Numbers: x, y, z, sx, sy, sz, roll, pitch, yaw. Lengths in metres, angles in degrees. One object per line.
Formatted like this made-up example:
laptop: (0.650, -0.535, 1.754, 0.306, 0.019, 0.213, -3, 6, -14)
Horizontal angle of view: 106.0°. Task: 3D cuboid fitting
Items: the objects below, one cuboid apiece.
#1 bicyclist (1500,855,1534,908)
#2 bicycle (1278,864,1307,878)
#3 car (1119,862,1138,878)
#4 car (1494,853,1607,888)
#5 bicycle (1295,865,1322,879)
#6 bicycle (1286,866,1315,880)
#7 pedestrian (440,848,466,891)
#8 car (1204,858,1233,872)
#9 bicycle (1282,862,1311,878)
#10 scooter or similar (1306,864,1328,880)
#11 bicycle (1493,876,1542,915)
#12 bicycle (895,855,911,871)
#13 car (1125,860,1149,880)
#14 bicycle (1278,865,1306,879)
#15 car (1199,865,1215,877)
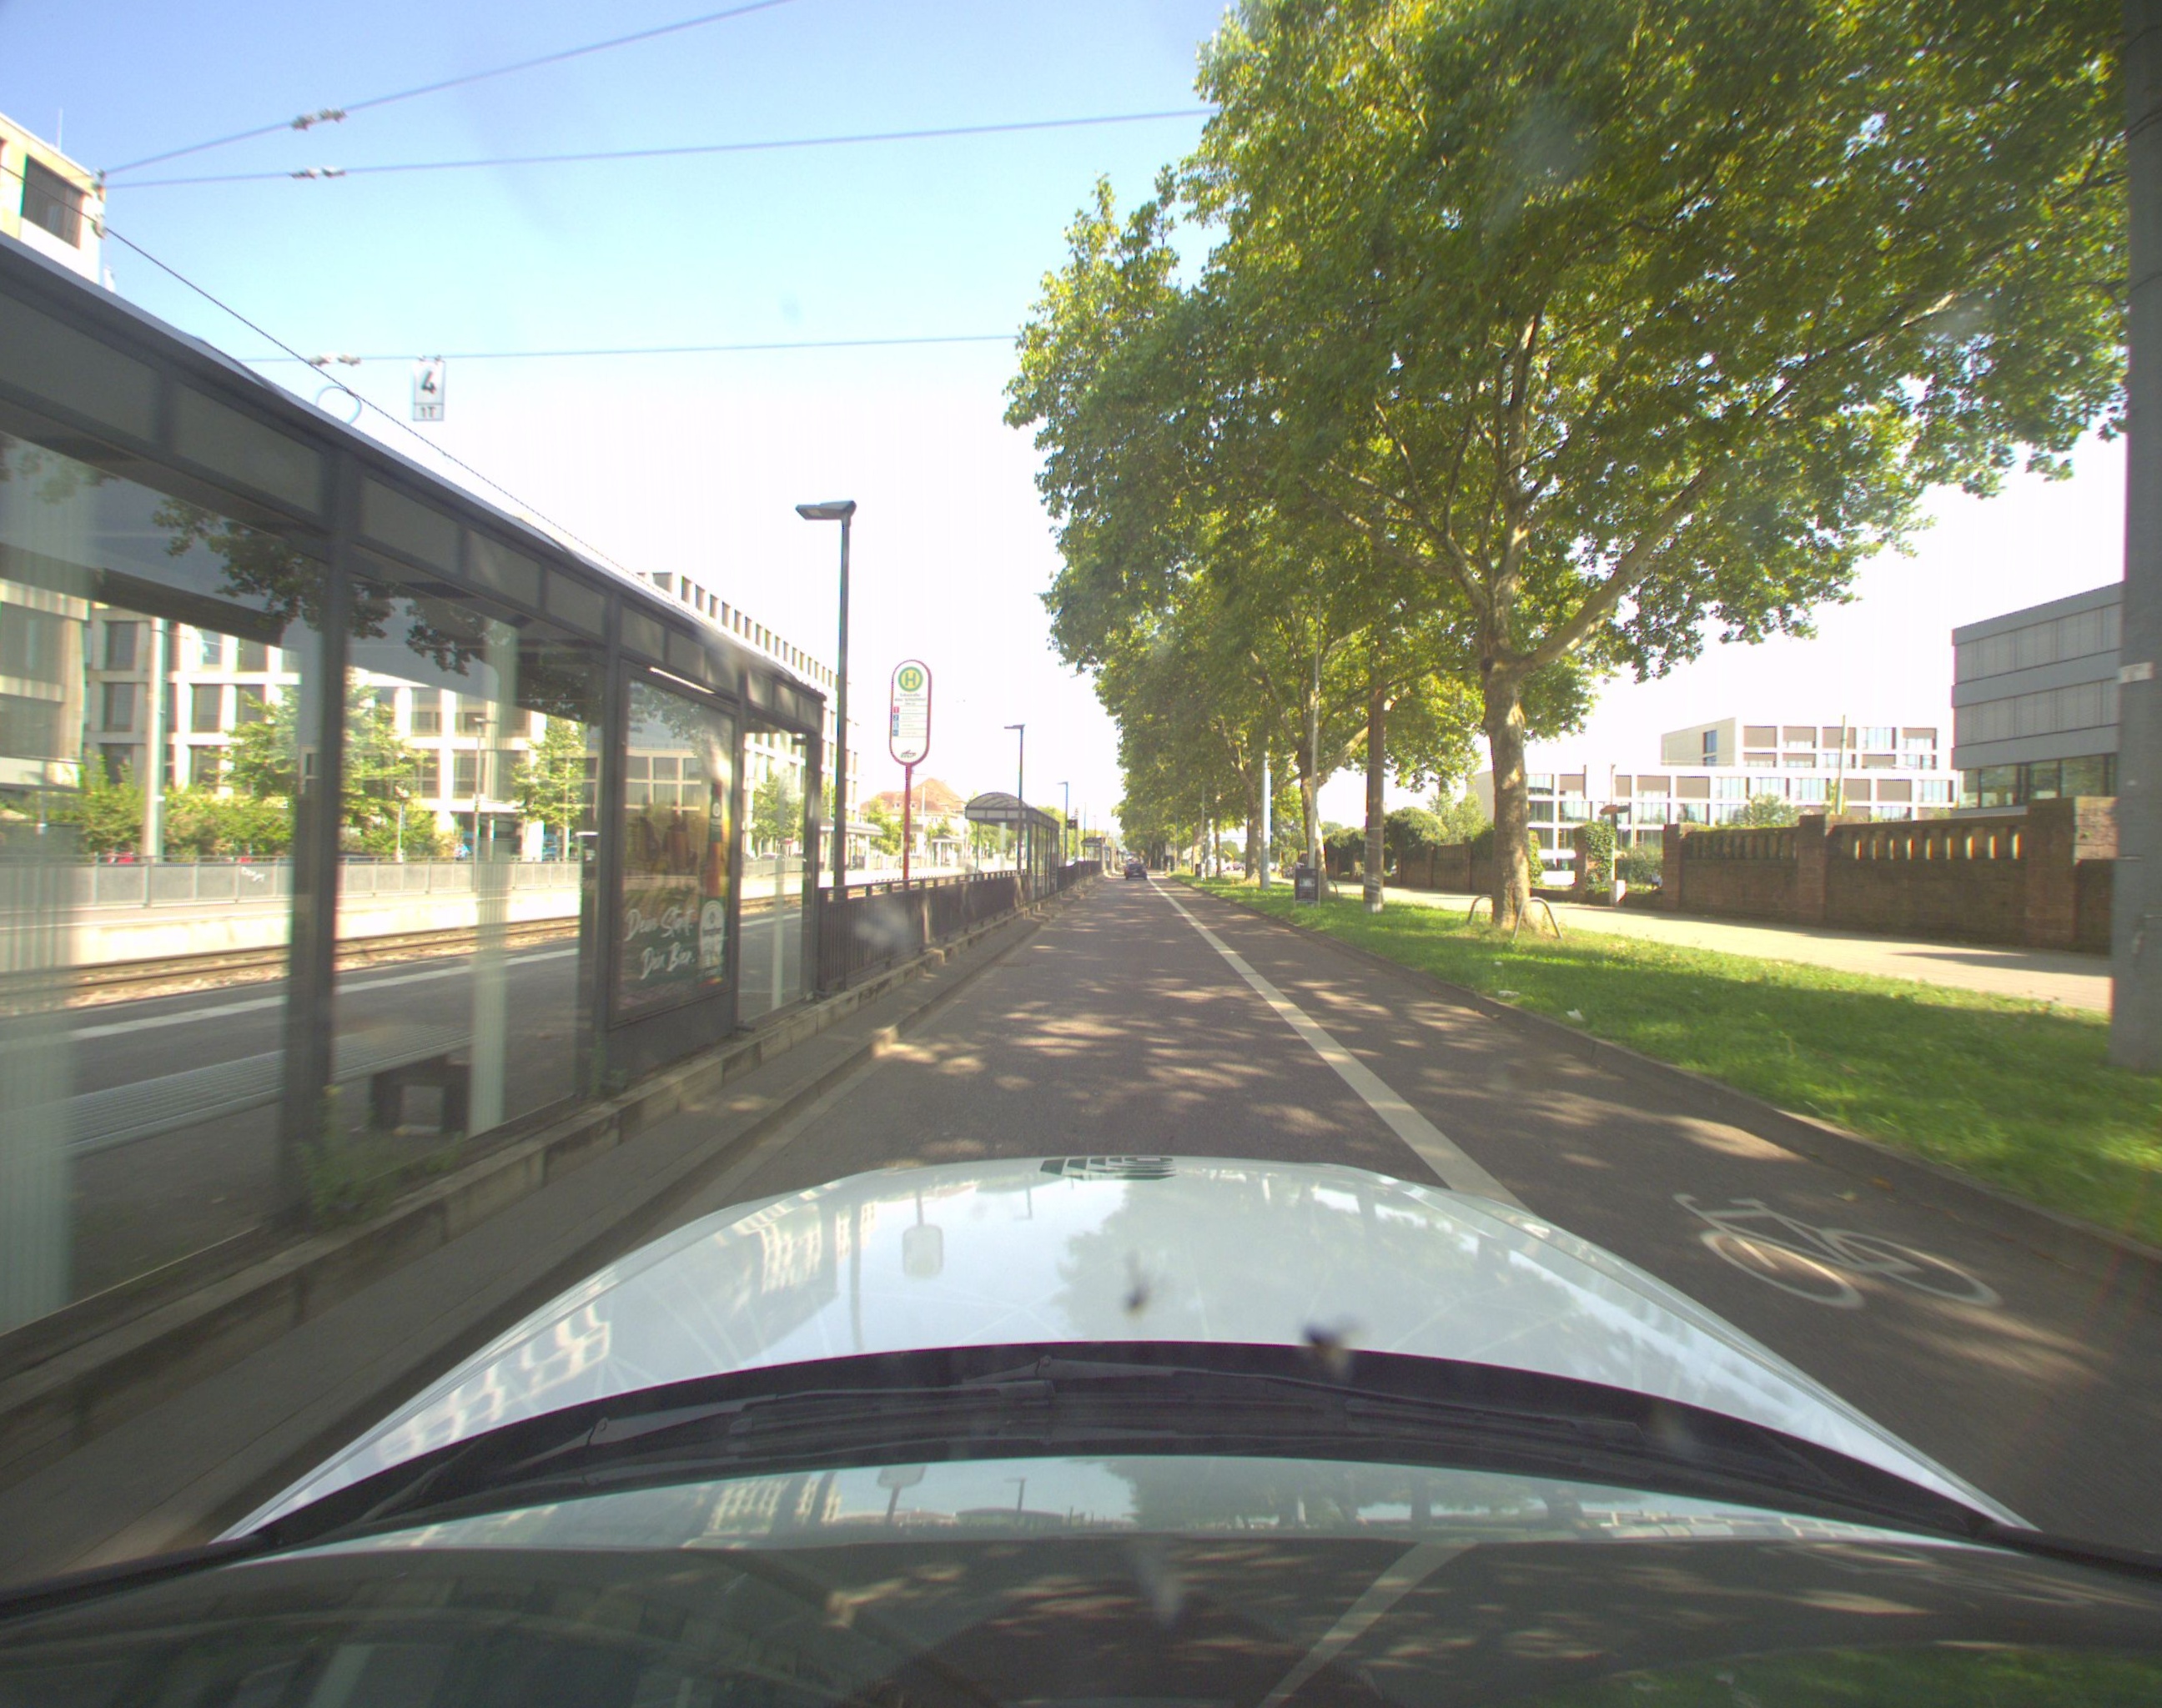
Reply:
bicyclist: (12.178, 0.762, 22.751, 0.546, 1.453, 0.843, 0, -1, 3)
bicycle: (17.499, 1.388, 67.396, 2.162, 1.076, 0.744, -2, -1, 6)
car: (5.030, 1.659, 86.380, 1.965, 1.537, 4.002, -3, -1, 2)
car: (23.231, 0.809, 40.429, 4.505, 1.734, 1.910, 0, -1, 1)
bicycle: (17.365, 1.361, 62.248, 1.860, 1.006, 0.735, 1, -1, 1)
bicycle: (17.559, 1.538, 65.174, 2.165, 1.076, 0.743, 1, -1, 1)
pedestrian: (-29.910, 0.763, 38.820, 0.560, 2.014, 0.823, -2, -2, 3)
car: (19.821, 1.584, 117.662, 4.082, 1.918, 1.851, -1, -1, 6)
bicycle: (18.424, 1.396, 69.668, 2.235, 1.277, 0.999, -1, -2, 2)
scooter or similar: (17.608, 1.334, 60.860, 1.497, 1.191, 0.540, -1, -1, 7)
bicycle: (12.171, 1.146, 22.748, 0.546, 1.007, 1.715, 0, 0, 4)
bicycle: (-13.545, 0.691, 61.878, 0.467, 1.147, 1.490, 1, -1, 18)
car: (4.564, 1.297, 66.956, 1.899, 1.537, 4.003, -1, -1, 3)
bicycle: (17.644, 1.494, 68.204, 2.162, 1.076, 0.744, -2, -1, 6)
car: (16.128, 2.191, 104.470, 1.720, 1.449, 4.555, 0, -1, 4)
